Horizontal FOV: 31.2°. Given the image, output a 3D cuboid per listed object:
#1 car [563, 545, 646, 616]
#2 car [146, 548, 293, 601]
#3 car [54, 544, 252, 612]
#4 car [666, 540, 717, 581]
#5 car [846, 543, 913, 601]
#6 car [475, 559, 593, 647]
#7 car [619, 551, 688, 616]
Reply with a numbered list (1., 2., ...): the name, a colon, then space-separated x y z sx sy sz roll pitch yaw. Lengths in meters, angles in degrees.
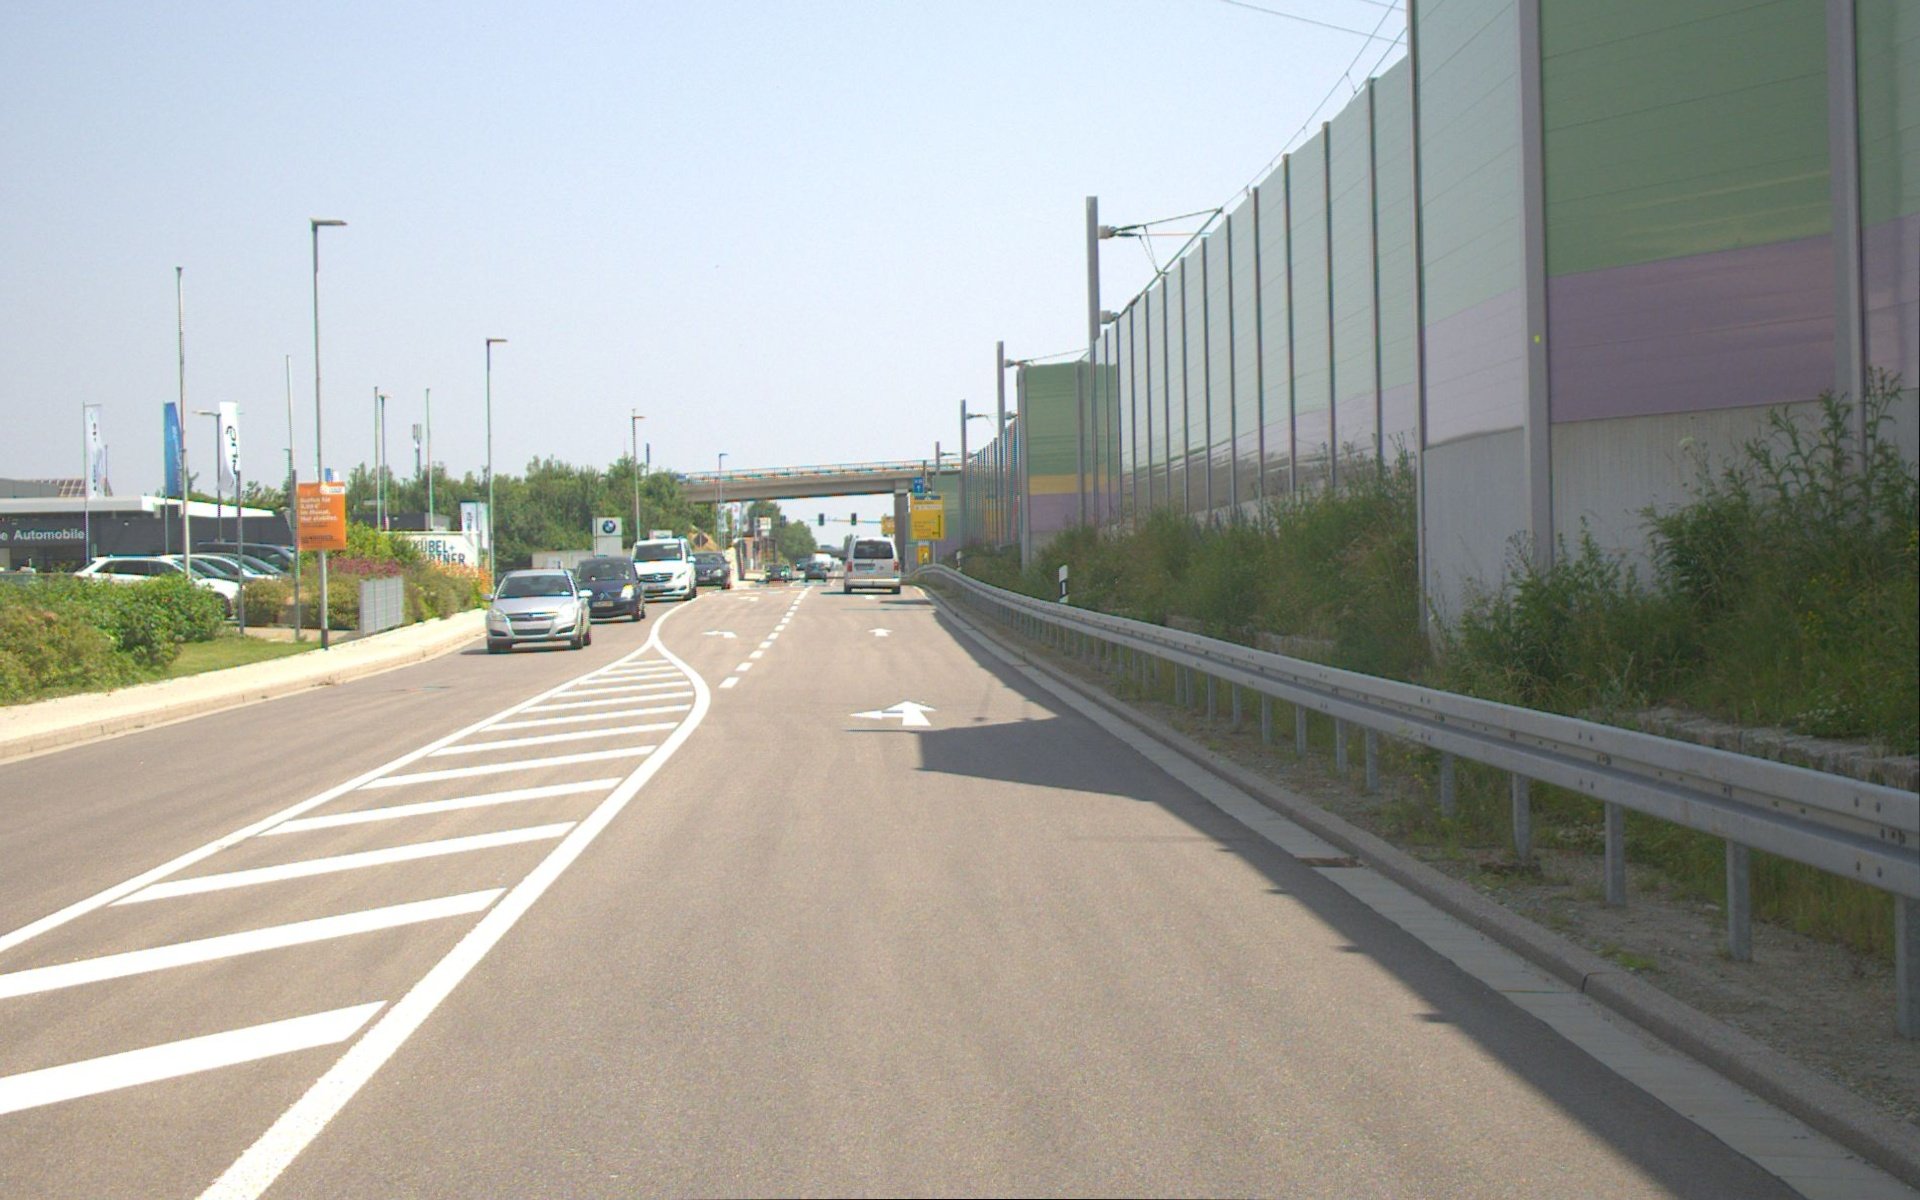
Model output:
1. car: -8.612 -0.492 83.606 1.668 1.594 3.973 -3 1 -2
2. car: -19.175 -0.663 89.139 3.509 1.250 1.505 2 1 -3
3. car: -18.801 -0.516 80.220 4.223 1.451 1.764 2 1 -3
4. car: -9.951 -1.491 127.802 1.670 1.418 4.000 -3 1 -2
5. car: -2.526 -0.897 108.466 1.993 1.751 4.000 -1 1 0
6. car: -7.793 0.023 63.135 1.764 1.461 4.260 -3 1 -3
7. car: -9.335 -0.523 104.960 1.993 1.867 5.170 -2 1 -5
